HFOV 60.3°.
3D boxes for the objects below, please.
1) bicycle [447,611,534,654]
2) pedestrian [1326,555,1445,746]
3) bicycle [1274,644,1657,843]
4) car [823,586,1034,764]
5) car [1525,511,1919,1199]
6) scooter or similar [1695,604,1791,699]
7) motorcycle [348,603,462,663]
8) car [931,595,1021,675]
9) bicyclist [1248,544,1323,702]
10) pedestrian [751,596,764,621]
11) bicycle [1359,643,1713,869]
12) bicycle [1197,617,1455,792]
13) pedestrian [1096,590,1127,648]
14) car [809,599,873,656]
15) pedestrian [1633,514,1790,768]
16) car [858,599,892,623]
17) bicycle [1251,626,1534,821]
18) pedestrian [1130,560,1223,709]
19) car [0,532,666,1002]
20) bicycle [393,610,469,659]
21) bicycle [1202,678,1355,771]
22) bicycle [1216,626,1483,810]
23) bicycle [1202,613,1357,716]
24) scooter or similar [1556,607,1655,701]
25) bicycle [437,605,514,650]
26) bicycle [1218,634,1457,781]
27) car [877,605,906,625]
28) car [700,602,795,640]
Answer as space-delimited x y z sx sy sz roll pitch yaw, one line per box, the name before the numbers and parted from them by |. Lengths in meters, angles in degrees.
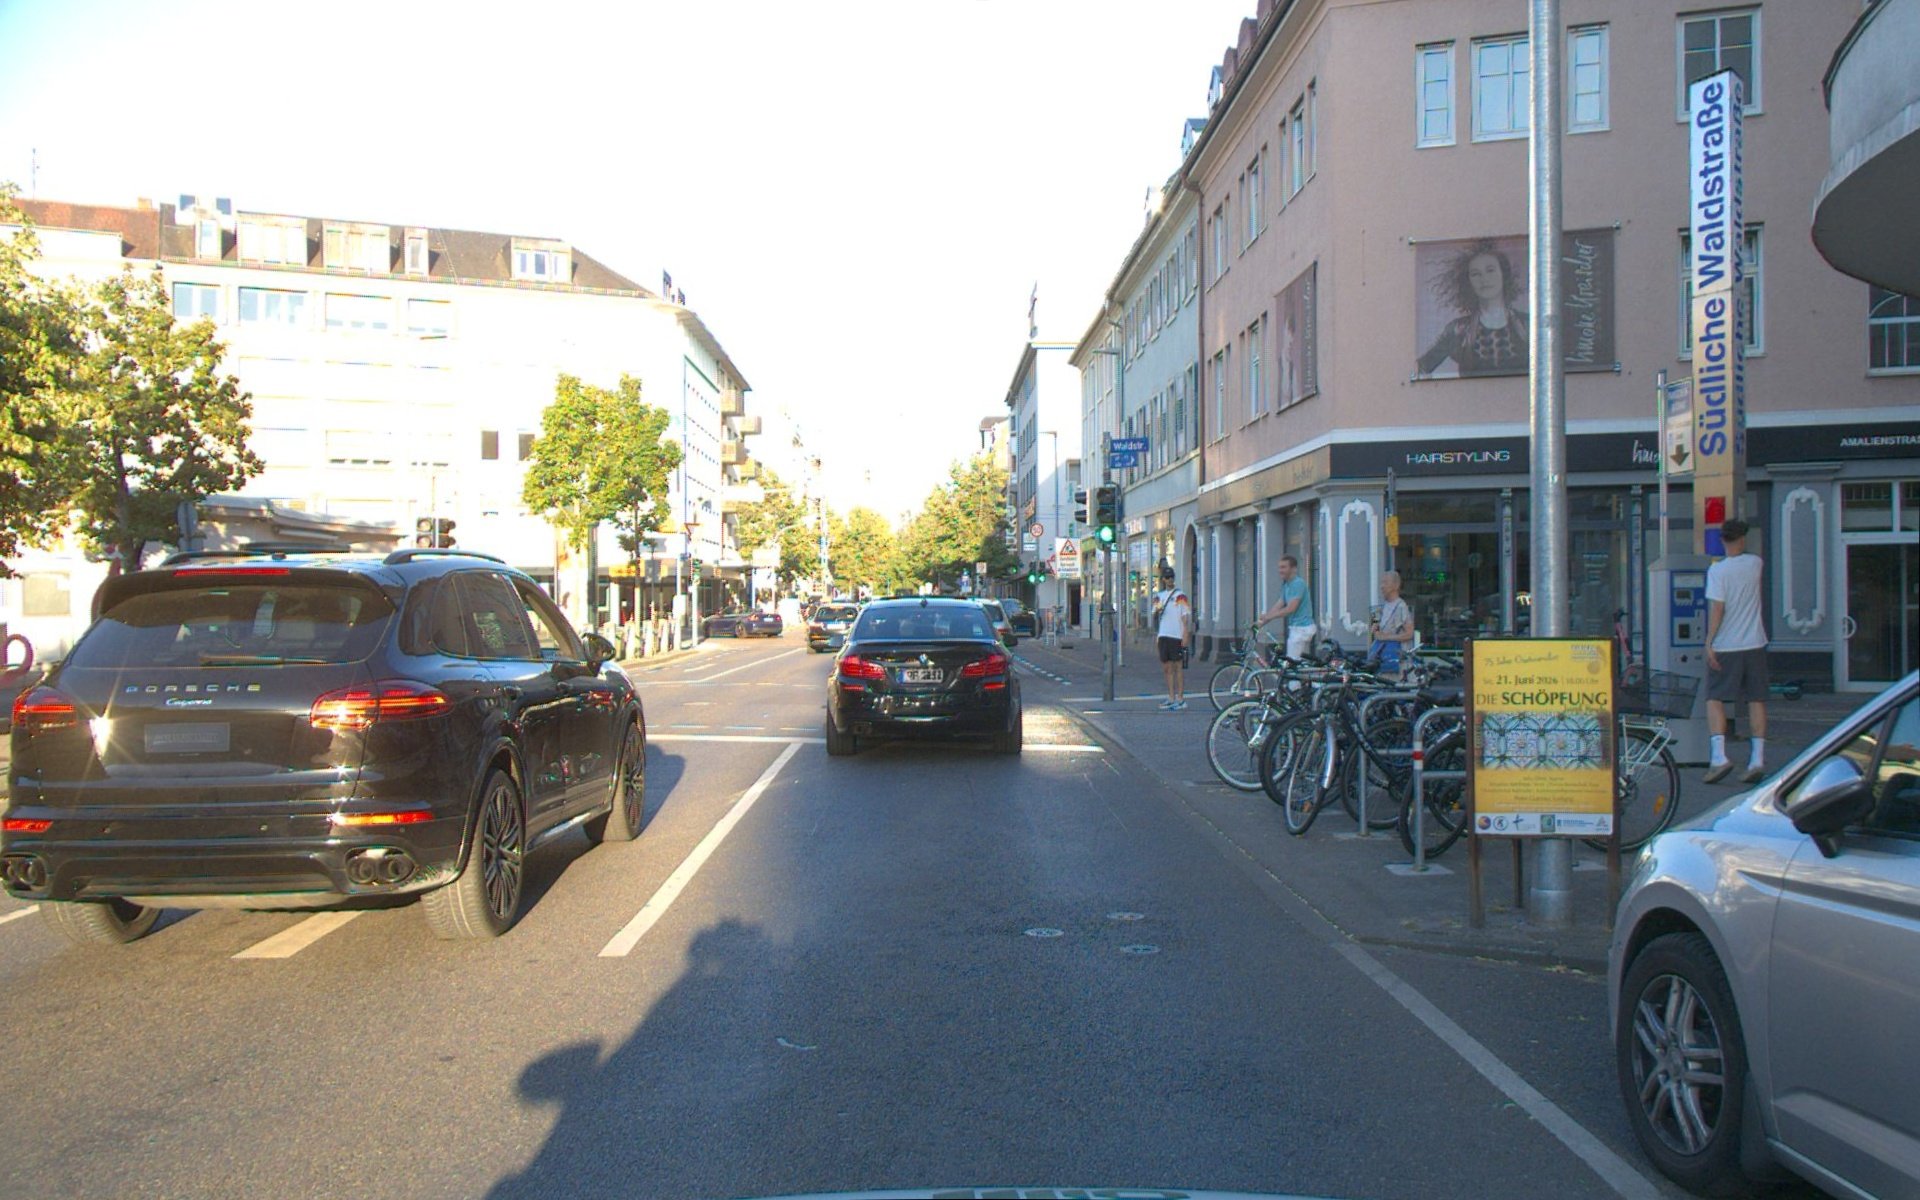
bicycle | -14.191 0.977 50.018 2.393 1.278 0.787 0 0 0
pedestrian | 3.887 0.443 15.109 0.778 1.682 0.775 -1 0 42
bicycle | 3.117 0.857 10.284 2.128 1.094 0.804 -1 0 -8
car | -0.366 0.656 16.850 1.865 1.567 4.447 0 0 -2
car | 2.747 0.649 2.994 1.663 1.645 4.680 0 0 -3
scooter or similar | 10.734 0.698 22.704 1.176 1.282 0.363 0 0 25
motorcycle | -13.733 0.804 40.973 2.528 1.454 0.868 0 0 0
car | 0.326 0.694 35.319 1.795 1.603 4.100 0 0 0
bicyclist | 3.901 0.267 19.895 0.815 1.858 0.831 0 0 7
pedestrian | -14.290 0.601 116.851 0.807 1.706 0.871 0 0 -2
bicycle | 3.224 0.843 9.287 1.812 1.143 0.593 -1 -1 -13
bicycle | 2.774 0.774 12.608 1.808 1.261 0.638 -1 0 -7
pedestrian | 4.442 0.562 48.528 0.807 1.670 0.871 0 0 -3
car | -3.562 0.794 50.023 1.835 1.623 4.447 0 0 -3
pedestrian | 5.671 0.302 12.525 0.806 1.848 0.872 0 0 3
car | -5.534 0.702 107.273 1.955 1.467 3.994 0 0 -7
bicycle | 2.928 0.808 11.232 1.751 1.193 0.620 -2 0 -13
pedestrian | 2.880 0.446 22.021 0.926 1.931 0.819 0 0 -26
car | -2.887 0.621 8.514 1.909 1.744 4.561 -1 0 0
bicycle | -14.123 0.911 44.175 1.815 1.278 0.633 0 0 0
bicycle | 2.716 1.050 14.198 0.986 0.693 1.048 0 0 -10
bicycle | 2.786 0.821 11.861 1.751 1.193 0.620 -2 0 -13
bicycle | 3.816 0.768 19.902 1.781 1.207 0.794 -1 0 8
scooter or similar | 8.708 0.713 22.315 1.228 1.235 0.467 0 0 22
bicycle | -14.263 0.804 48.718 1.964 1.278 0.949 0 0 0
bicycle | 3.082 0.859 13.552 1.751 1.082 0.716 -2 0 -13
car | -4.770 1.009 114.061 1.701 1.315 3.994 0 0 -7
car | -8.916 0.855 69.339 3.933 1.512 1.986 0 0 45
